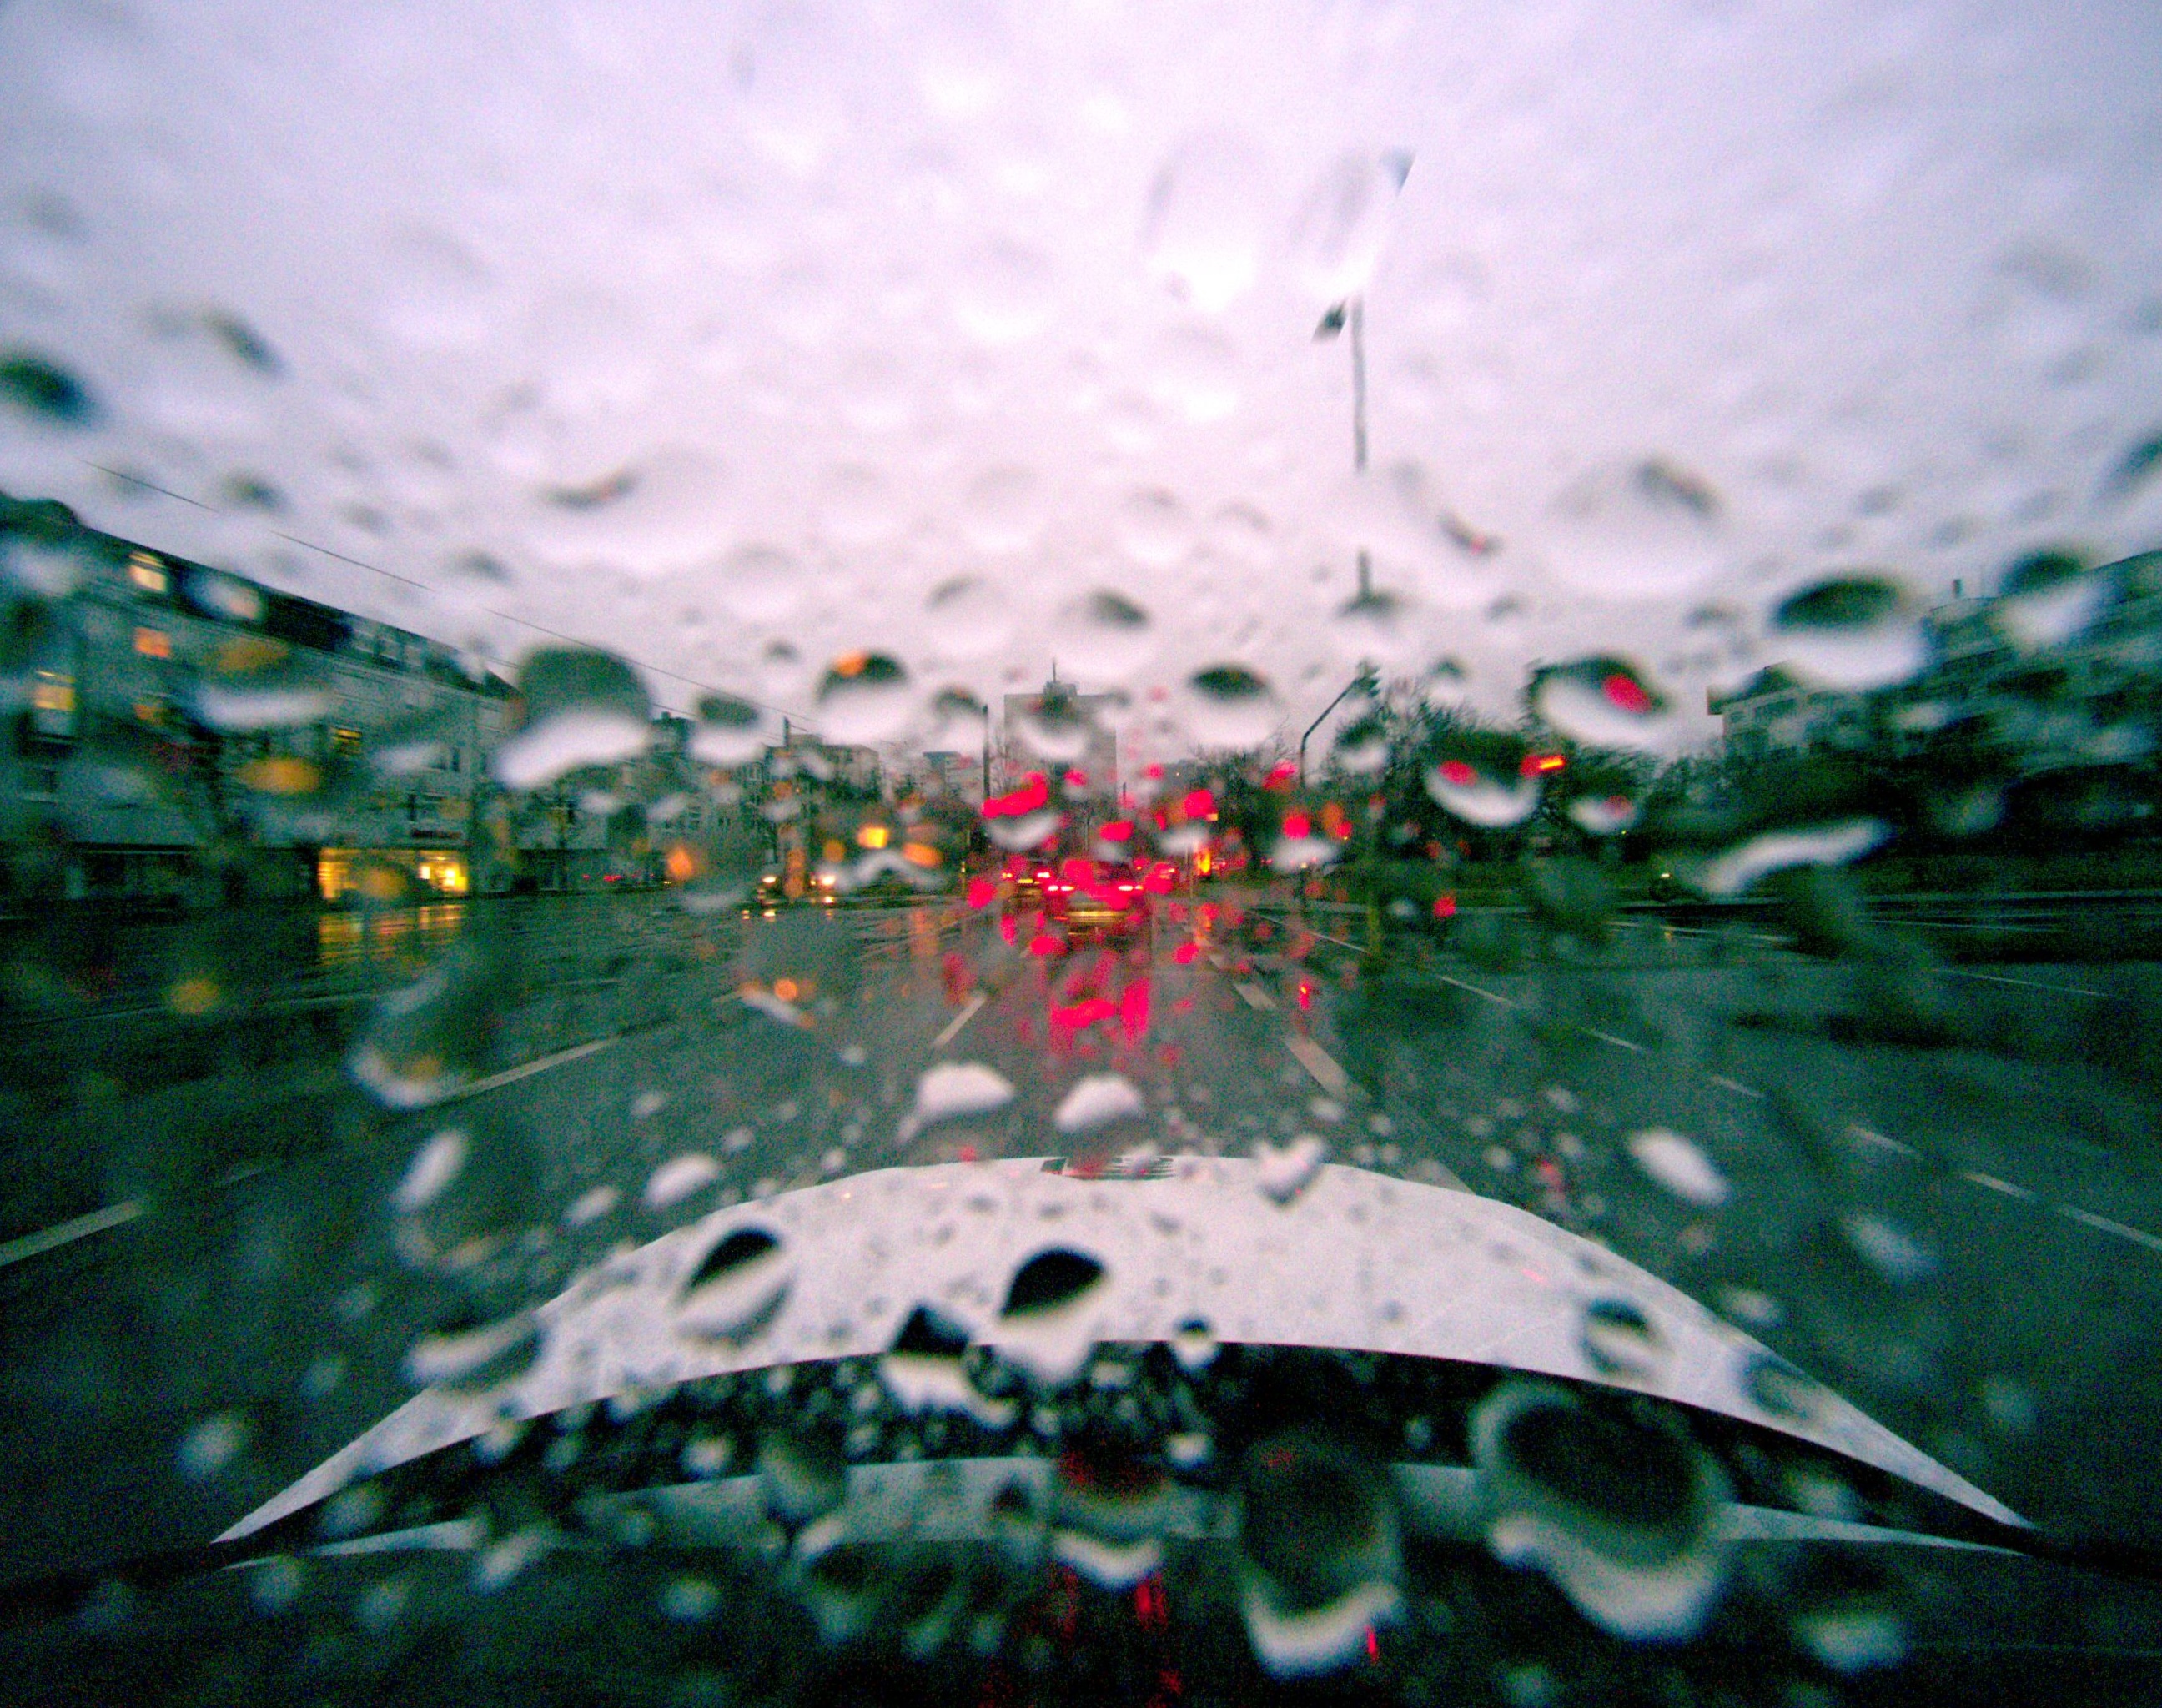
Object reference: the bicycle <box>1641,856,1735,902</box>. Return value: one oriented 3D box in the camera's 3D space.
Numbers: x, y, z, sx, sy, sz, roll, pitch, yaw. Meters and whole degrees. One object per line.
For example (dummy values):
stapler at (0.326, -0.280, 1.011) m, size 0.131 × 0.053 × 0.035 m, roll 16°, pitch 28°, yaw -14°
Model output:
bicycle at (17.669, 0.711, 23.750) m, size 1.957 × 1.216 × 1.040 m, roll -2°, pitch 1°, yaw -2°

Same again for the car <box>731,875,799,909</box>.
car at (-15.915, 1.875, 41.276) m, size 1.798 × 1.607 × 4.000 m, roll 0°, pitch -1°, yaw 1°

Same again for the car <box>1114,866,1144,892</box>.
car at (3.787, 1.933, 63.488) m, size 1.760 × 1.892 × 3.654 m, roll 0°, pitch -2°, yaw 12°

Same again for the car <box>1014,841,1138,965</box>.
car at (0.065, 0.835, 15.124) m, size 1.985 × 1.976 × 4.072 m, roll 0°, pitch -1°, yaw 4°

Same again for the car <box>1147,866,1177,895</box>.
car at (5.592, 1.765, 55.588) m, size 1.846 × 1.892 × 4.009 m, roll 0°, pitch -1°, yaw 8°

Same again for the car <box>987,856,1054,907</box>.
car at (-2.113, 0.984, 29.650) m, size 1.986 × 1.712 × 4.325 m, roll 0°, pitch -1°, yaw 1°

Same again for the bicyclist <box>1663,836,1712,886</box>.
bicyclist at (17.658, 0.215, 23.725) m, size 0.747 × 1.430 × 0.928 m, roll 0°, pitch -2°, yaw 5°

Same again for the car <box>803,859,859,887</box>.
car at (-14.559, 1.097, 47.666) m, size 1.581 × 1.529 × 4.935 m, roll 0°, pitch -1°, yaw 1°

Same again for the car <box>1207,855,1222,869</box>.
car at (15.310, 0.968, 93.219) m, size 1.527 × 1.513 × 3.348 m, roll 0°, pitch -1°, yaw 7°
